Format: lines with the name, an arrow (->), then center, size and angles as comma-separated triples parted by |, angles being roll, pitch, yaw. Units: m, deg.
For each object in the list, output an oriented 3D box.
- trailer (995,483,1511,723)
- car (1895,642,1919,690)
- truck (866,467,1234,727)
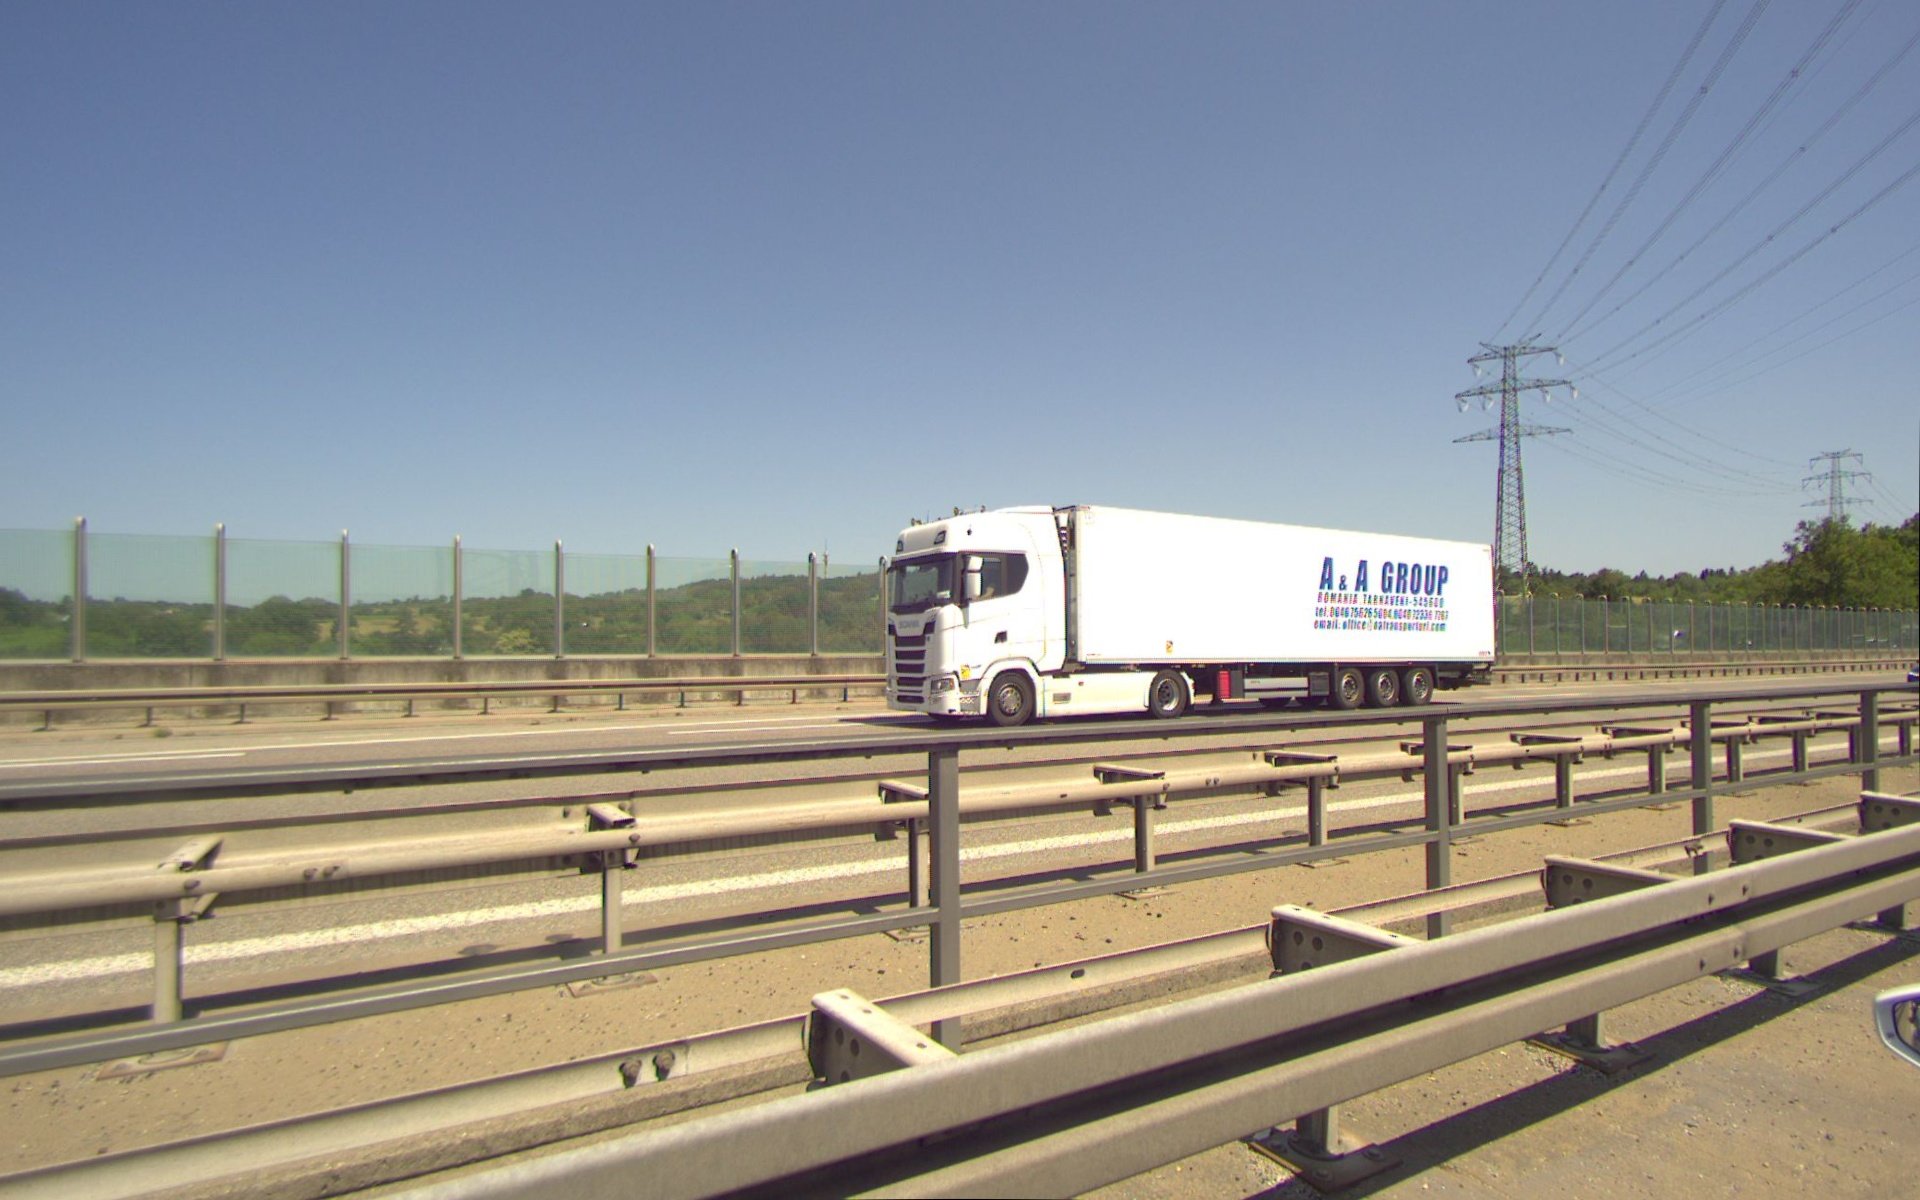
trailer -> 7.249, 0.321, 22.926 | 13.503, 4.363, 2.892 | 2, -3, -31
car -> 32.458, 2.134, 32.686 | 4.551, 1.511, 1.764 | 1, -2, -31
truck -> 1.832, 0.124, 19.746 | 6.777, 4.349, 2.916 | 2, -4, -30
